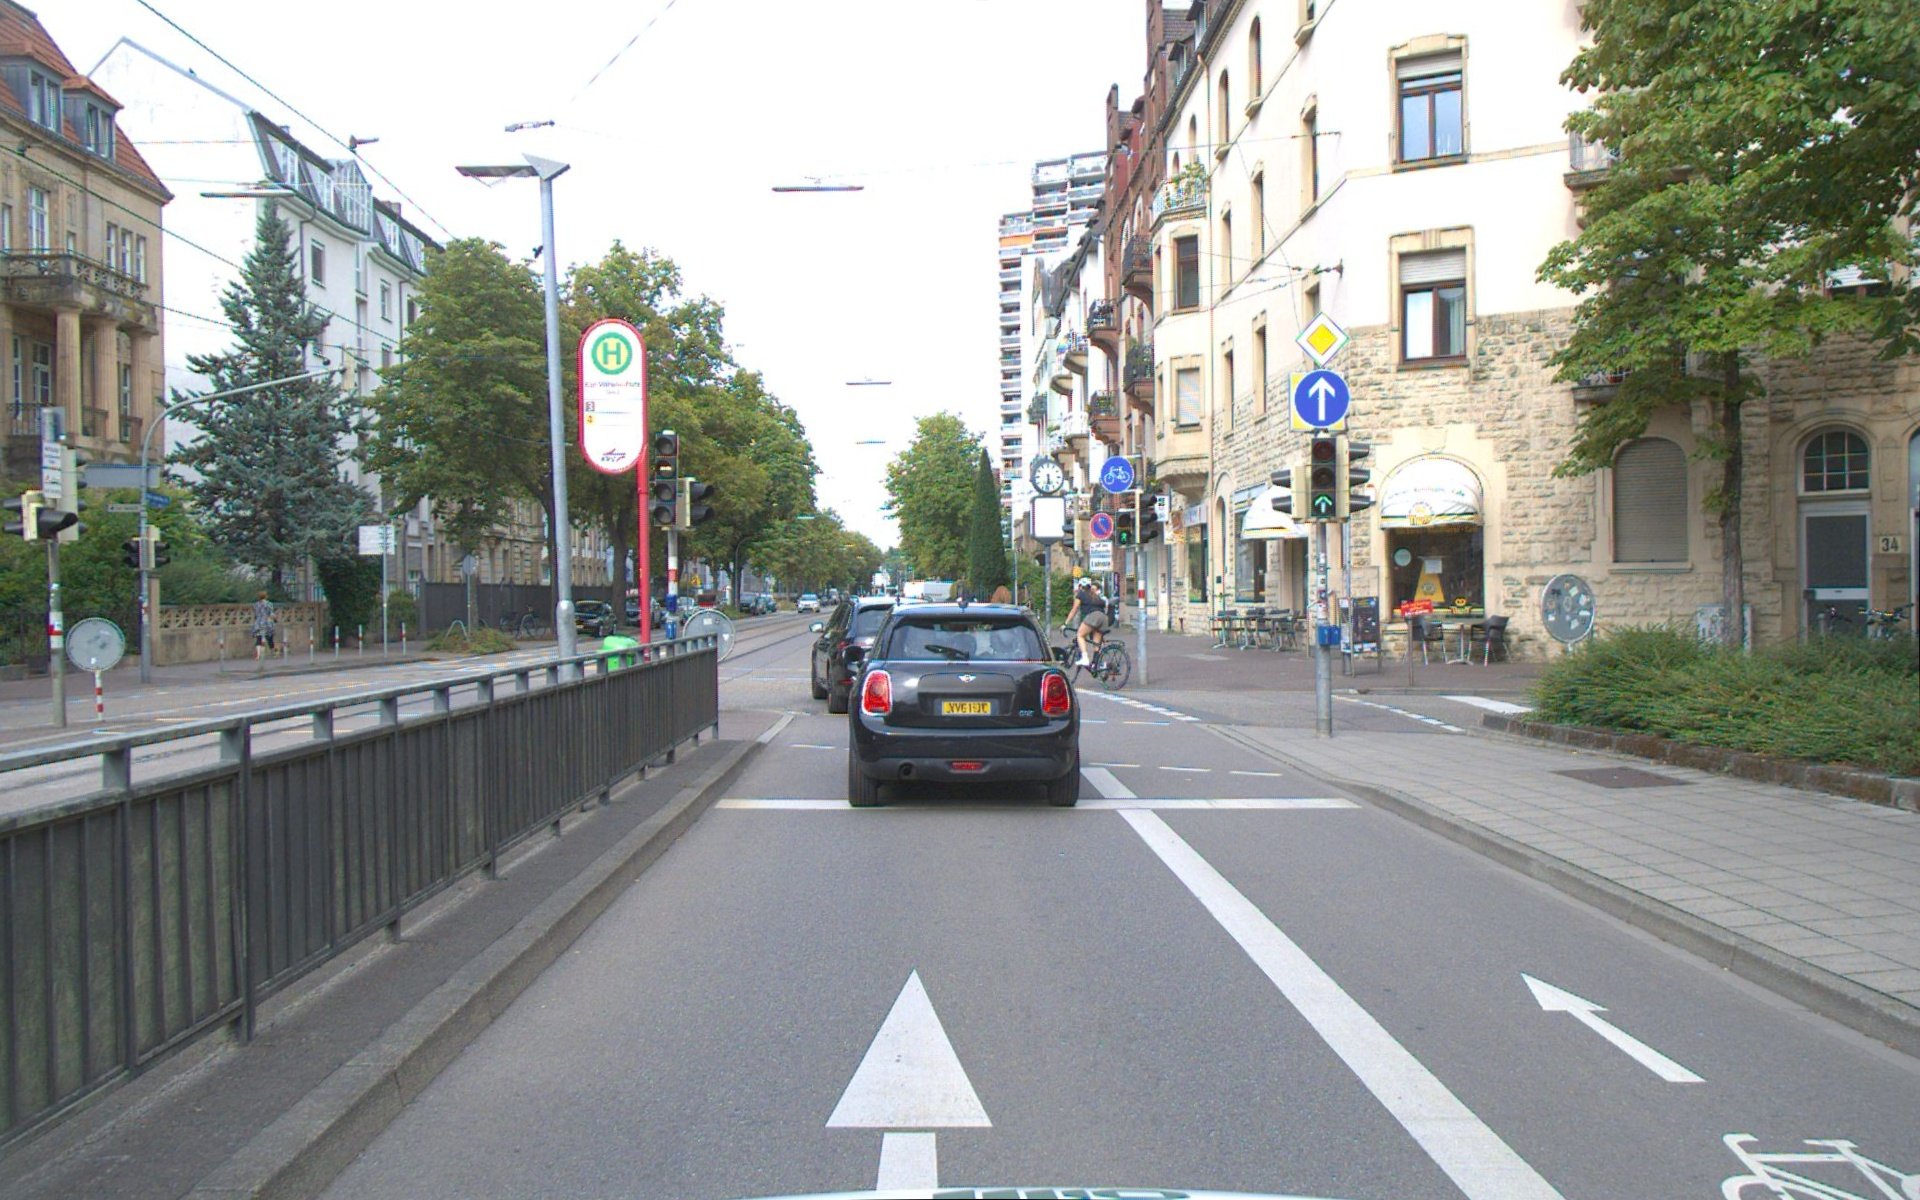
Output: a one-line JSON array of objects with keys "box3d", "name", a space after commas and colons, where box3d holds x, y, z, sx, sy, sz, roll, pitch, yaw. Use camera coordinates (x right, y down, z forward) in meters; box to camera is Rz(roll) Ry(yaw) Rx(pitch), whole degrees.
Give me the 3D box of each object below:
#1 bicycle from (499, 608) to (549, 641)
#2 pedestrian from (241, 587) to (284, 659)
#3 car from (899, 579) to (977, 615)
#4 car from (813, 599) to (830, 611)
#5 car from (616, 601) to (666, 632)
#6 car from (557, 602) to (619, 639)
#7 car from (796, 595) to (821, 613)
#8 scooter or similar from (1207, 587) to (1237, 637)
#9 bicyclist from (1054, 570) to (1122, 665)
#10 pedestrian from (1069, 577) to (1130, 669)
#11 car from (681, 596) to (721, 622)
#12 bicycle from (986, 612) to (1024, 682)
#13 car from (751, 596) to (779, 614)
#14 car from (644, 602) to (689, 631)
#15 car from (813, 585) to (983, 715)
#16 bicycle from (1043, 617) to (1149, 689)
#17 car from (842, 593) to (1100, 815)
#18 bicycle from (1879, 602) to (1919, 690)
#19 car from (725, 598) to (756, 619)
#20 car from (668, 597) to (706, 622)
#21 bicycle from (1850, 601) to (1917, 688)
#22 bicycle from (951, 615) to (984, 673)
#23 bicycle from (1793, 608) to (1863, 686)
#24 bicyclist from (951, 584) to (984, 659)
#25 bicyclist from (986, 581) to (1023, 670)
[{"box3d": [-15.883, 0.895, 60.294, 1.657, 1.138, 0.564, -2, 0, -41], "name": "bicycle"}, {"box3d": [-17.823, 0.577, 42.273, 0.715, 1.815, 0.835, -1, 0, -1], "name": "pedestrian"}, {"box3d": [-1.465, -0.224, 112.419, 4.996, 2.312, 2.360, -1, 0, -42], "name": "car"}, {"box3d": [-18.654, 0.659, 222.278, 1.953, 1.579, 3.999, -1, 0, -1], "name": "car"}, {"box3d": [-15.355, 0.763, 79.805, 1.731, 1.420, 3.998, -1, 0, -2], "name": "car"}, {"box3d": [-15.197, 0.801, 67.782, 1.731, 1.420, 3.998, -1, 0, -2], "name": "car"}, {"box3d": [-12.374, 0.354, 135.065, 1.731, 1.420, 3.998, -1, 0, -2], "name": "car"}, {"box3d": [6.526, 0.284, 41.188, 0.498, 1.209, 1.261, -1, 0, -1], "name": "scooter or similar"}, {"box3d": [2.053, 0.273, 26.616, 0.611, 1.498, 0.902, -1, 0, -39], "name": "bicyclist"}, {"box3d": [2.713, 0.447, 32.184, 0.829, 1.703, 0.720, -4, 0, -45], "name": "pedestrian"}, {"box3d": [-16.648, 0.574, 106.498, 1.953, 1.579, 3.999, -1, 0, -1], "name": "car"}, {"box3d": [0.802, 0.832, 29.879, 0.586, 1.190, 1.696, -1, 0, -1], "name": "bicycle"}, {"box3d": [-17.164, 0.440, 145.693, 1.953, 1.579, 3.999, -1, 0, -1], "name": "car"}, {"box3d": [-15.493, 0.847, 87.476, 1.731, 1.420, 3.998, -1, 0, -2], "name": "car"}, {"box3d": [-0.926, 0.607, 22.128, 1.890, 1.536, 3.993, -1, 0, -8], "name": "car"}, {"box3d": [2.157, 0.836, 26.493, 0.611, 1.095, 1.795, -1, 0, -39], "name": "bicycle"}, {"box3d": [0.058, 0.699, 13.187, 1.716, 1.466, 3.999, -1, 0, -1], "name": "car"}, {"box3d": [12.250, 0.570, 21.251, 0.441, 1.073, 1.640, -1, 0, 40], "name": "bicycle"}, {"box3d": [-17.159, 0.618, 129.457, 1.953, 1.579, 3.999, -1, 0, -1], "name": "car"}, {"box3d": [-16.113, 0.557, 97.753, 1.731, 1.420, 3.998, -1, 0, -2], "name": "car"}, {"box3d": [12.091, 0.567, 21.629, 0.441, 1.073, 1.640, -1, 0, 40], "name": "bicycle"}, {"box3d": [0.176, 0.949, 36.277, 0.670, 1.190, 1.697, -1, 0, 1], "name": "bicycle"}, {"box3d": [11.759, 0.614, 22.389, 0.591, 0.989, 1.665, -1, 0, 36], "name": "bicycle"}, {"box3d": [0.166, 0.460, 36.223, 0.670, 1.591, 0.998, -1, 0, 1], "name": "bicyclist"}, {"box3d": [0.801, 0.450, 29.876, 0.582, 1.577, 1.013, -1, 0, -1], "name": "bicyclist"}]
